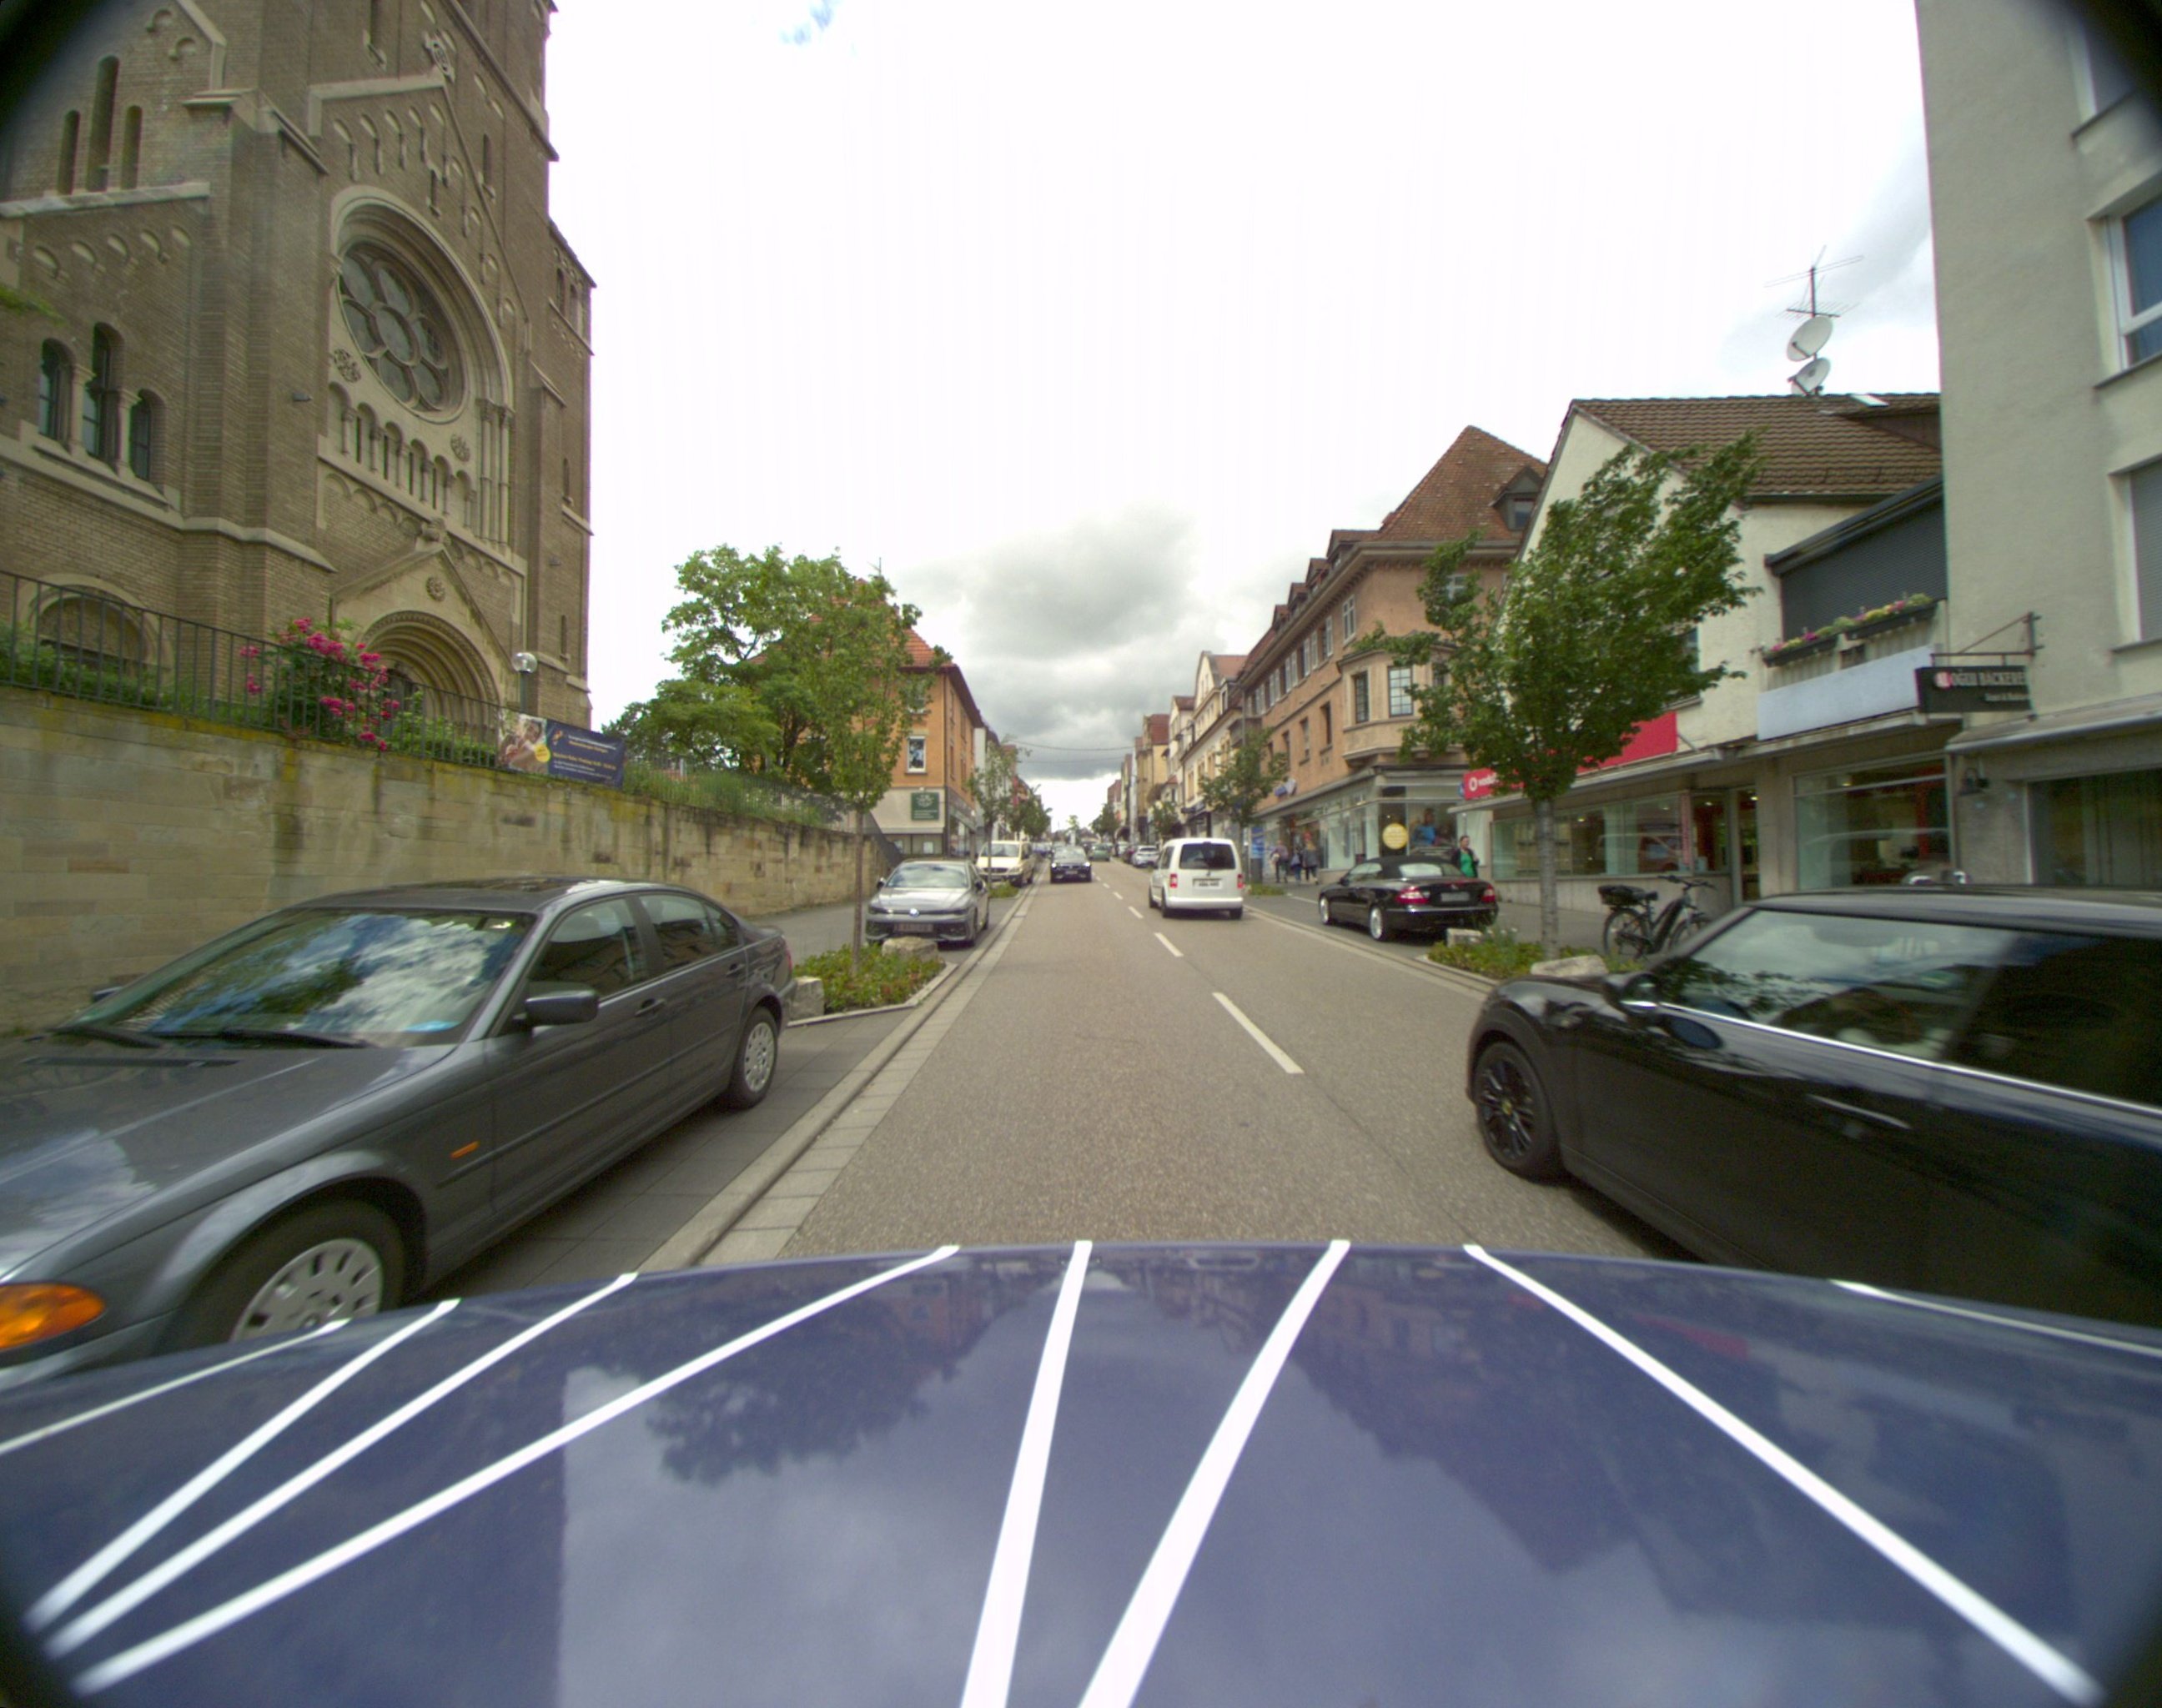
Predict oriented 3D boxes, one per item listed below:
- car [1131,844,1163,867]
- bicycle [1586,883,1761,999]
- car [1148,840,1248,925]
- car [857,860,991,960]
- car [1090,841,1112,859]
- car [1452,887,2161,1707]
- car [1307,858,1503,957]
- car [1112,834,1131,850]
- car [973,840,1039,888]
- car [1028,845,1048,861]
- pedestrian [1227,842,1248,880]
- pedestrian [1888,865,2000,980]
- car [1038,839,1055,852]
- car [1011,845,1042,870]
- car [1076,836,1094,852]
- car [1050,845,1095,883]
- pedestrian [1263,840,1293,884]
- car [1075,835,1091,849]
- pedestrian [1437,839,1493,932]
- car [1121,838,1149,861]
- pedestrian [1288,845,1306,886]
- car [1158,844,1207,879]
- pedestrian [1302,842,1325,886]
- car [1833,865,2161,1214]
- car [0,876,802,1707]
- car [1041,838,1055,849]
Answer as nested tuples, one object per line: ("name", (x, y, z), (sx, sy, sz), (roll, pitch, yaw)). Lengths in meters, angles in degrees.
("car", (4.422, 0.086, 51.313), (1.732, 1.423, 3.502), (-1, 1, -1))
("bicycle", (6.735, 0.932, 8.779), (0.485, 1.100, 1.907), (-2, 1, -2))
("car", (2.675, 0.588, 18.298), (1.751, 1.792, 4.211), (1, 1, 0))
("car", (-2.668, 0.879, 13.812), (1.759, 1.433, 4.087), (0, 1, -3))
("car", (1.701, -0.387, 64.985), (1.686, 1.492, 4.152), (0, 1, -1))
("car", (2.705, 0.871, 2.095), (1.610, 1.380, 3.629), (1, 0, 1))
("car", (5.593, 0.829, 13.786), (1.661, 1.384, 4.443), (-1, 1, 0))
("car", (4.015, -1.211, 76.336), (1.690, 1.516, 3.528), (0, 1, -1))
("car", (-3.002, 0.338, 31.448), (1.889, 1.837, 5.031), (0, 1, 4))
("car", (-4.276, -0.080, 75.679), (1.774, 1.516, 3.528), (0, 1, -1))
("pedestrian", (6.619, 0.285, 32.236), (0.629, 1.564, 0.650), (-5, 1, -1))
("pedestrian", (9.870, 0.765, 8.711), (0.597, 1.239, 0.598), (-2, 1, -1))
("car", (-3.890, -0.974, 86.035), (1.774, 1.516, 3.528), (0, 1, -1))
("car", (-3.467, 0.181, 48.852), (1.816, 1.440, 3.944), (2, 1, -2))
("car", (0.394, -1.078, 80.354), (1.830, 1.680, 3.857), (0, 1, -2))
("car", (-0.396, 0.429, 34.476), (1.895, 1.516, 3.734), (-2, 1, -1))
("pedestrian", (7.708, 0.297, 29.728), (0.872, 1.657, 0.906), (-1, 2, -3))
("car", (0.279, -1.557, 94.172), (1.895, 1.670, 3.734), (1, 1, -1))
("pedestrian", (7.408, 0.586, 14.672), (0.662, 1.751, 0.777), (-1, 2, -3))
("car", (4.133, -0.408, 58.695), (1.732, 1.670, 3.990), (-1, 1, -1))
("pedestrian", (7.895, 0.403, 27.790), (0.497, 1.469, 0.528), (-1, 2, -3))
("car", (4.996, 0.324, 37.851), (1.669, 1.517, 3.961), (-2, 1, -3))
("pedestrian", (8.502, 0.351, 27.756), (0.615, 1.573, 0.642), (-1, 2, -3))
("car", (5.734, 0.847, 2.532), (1.844, 1.442, 4.513), (-2, 1, -3))
("car", (-2.851, 0.924, 3.119), (1.685, 1.409, 4.370), (-1, 2, 1))
("car", (-4.266, -1.334, 98.871), (1.690, 1.366, 3.528), (0, 1, -1))
